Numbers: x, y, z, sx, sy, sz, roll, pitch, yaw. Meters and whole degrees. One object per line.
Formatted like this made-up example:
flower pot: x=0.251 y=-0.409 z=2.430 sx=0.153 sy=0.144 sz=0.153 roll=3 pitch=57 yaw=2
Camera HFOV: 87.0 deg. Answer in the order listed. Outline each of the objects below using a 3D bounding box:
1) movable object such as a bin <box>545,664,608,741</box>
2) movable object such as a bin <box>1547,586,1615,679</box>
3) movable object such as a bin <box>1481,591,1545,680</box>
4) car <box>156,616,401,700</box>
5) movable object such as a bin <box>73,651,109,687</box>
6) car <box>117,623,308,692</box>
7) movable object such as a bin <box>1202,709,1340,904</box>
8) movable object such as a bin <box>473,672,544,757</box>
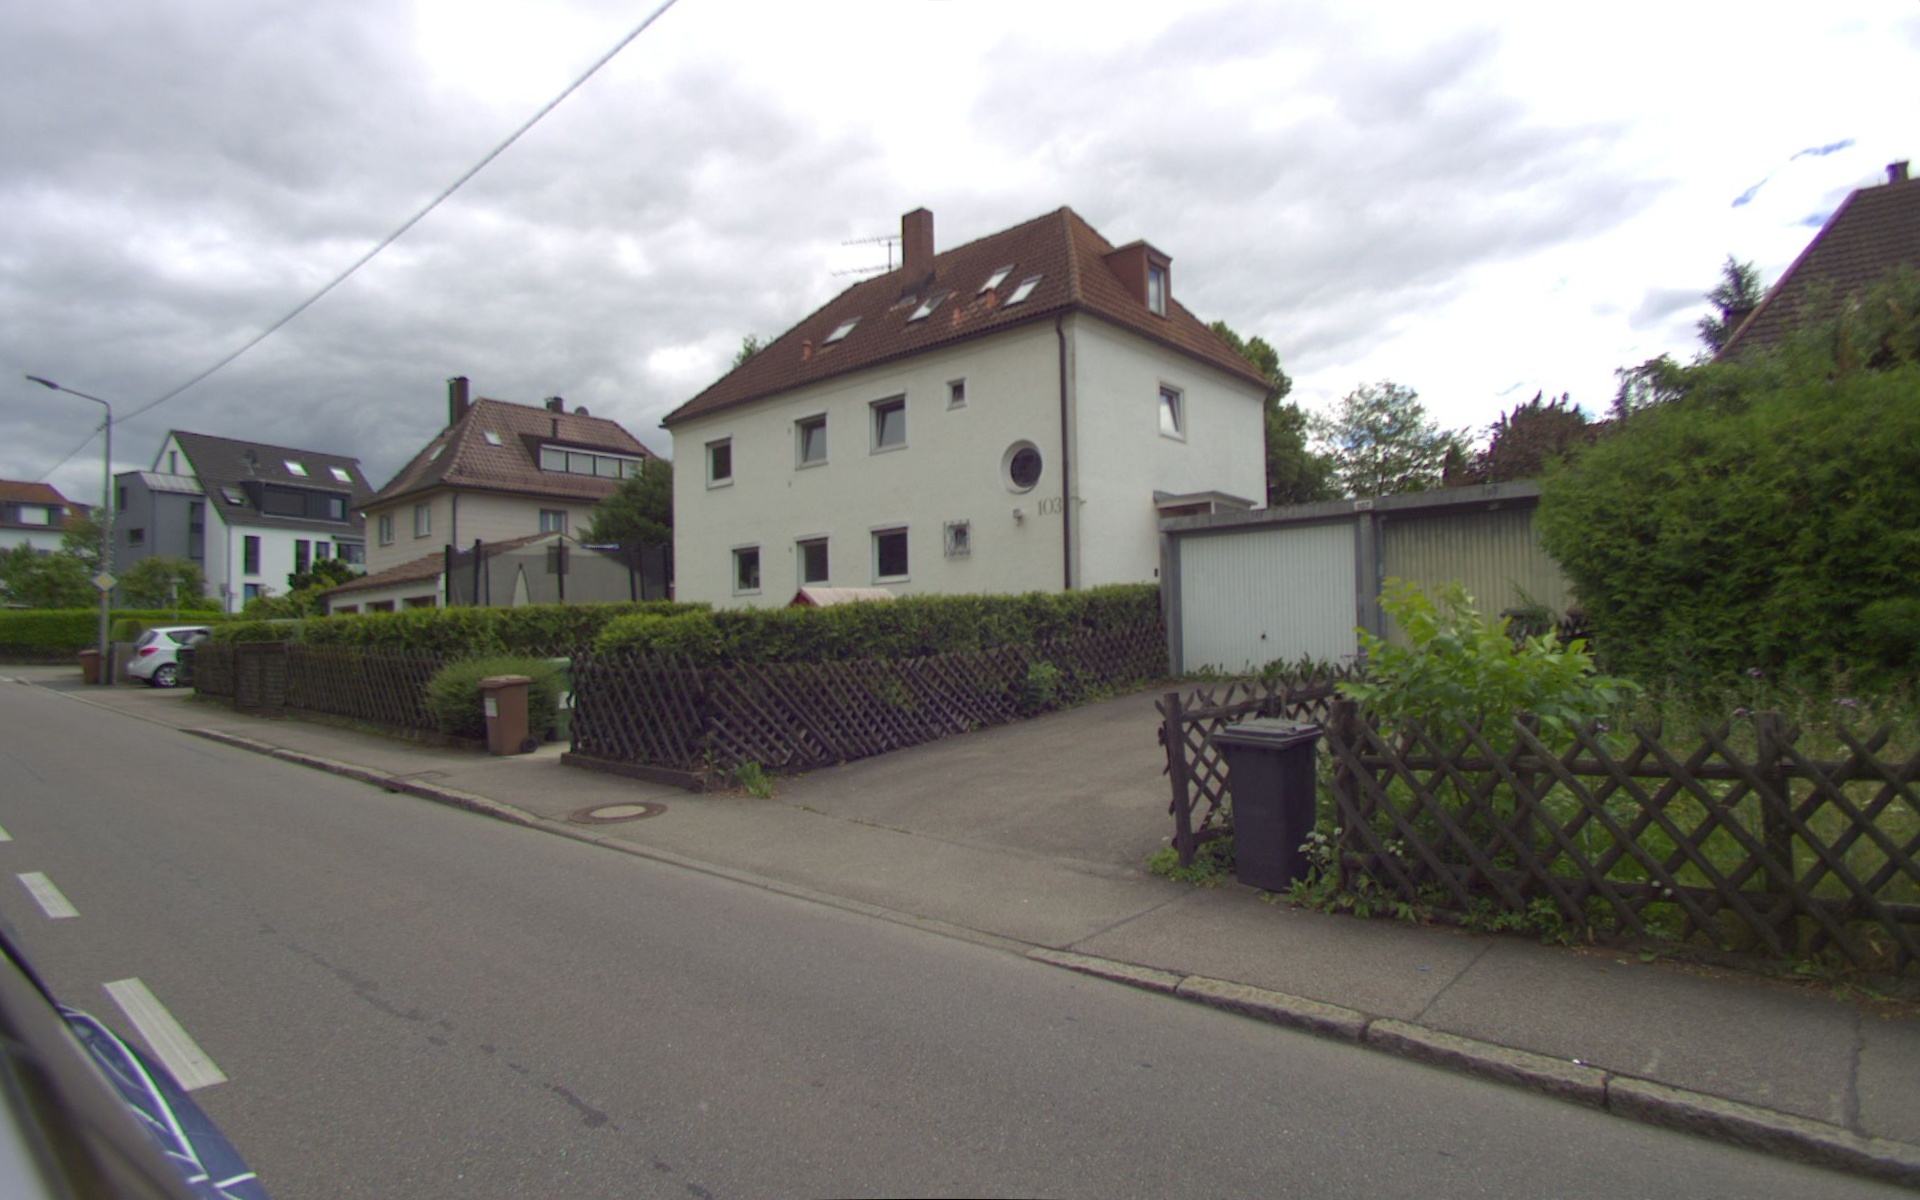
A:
movable object such as a bin: x=-5.085 y=1.349 z=13.434 sx=0.512 sy=0.960 sz=0.626 roll=-2 pitch=-3 yaw=44
movable object such as a bin: x=7.078 y=0.369 z=11.536 sx=0.500 sy=1.021 sz=0.487 roll=-5 pitch=-3 yaw=44
movable object such as a bin: x=6.576 y=0.418 z=12.025 sx=0.500 sy=1.021 sz=0.487 roll=-5 pitch=-3 yaw=44
car: x=-16.518 y=1.332 z=24.741 sx=1.881 sy=1.682 sz=4.624 roll=-2 pitch=0 yaw=40
movable object such as a bin: x=-24.345 y=1.922 z=28.368 sx=0.678 sy=0.961 sz=0.573 roll=1 pitch=-2 yaw=-34
car: x=-20.584 y=1.529 z=27.983 sx=1.718 sy=1.606 sz=3.946 roll=-2 pitch=0 yaw=41
movable object such as a bin: x=1.732 y=1.113 z=5.635 sx=0.537 sy=0.945 sz=0.544 roll=-2 pitch=-2 yaw=43
movable object such as a bin: x=-5.314 y=1.328 z=11.899 sx=0.625 sy=0.920 sz=0.561 roll=-1 pitch=-1 yaw=-39
